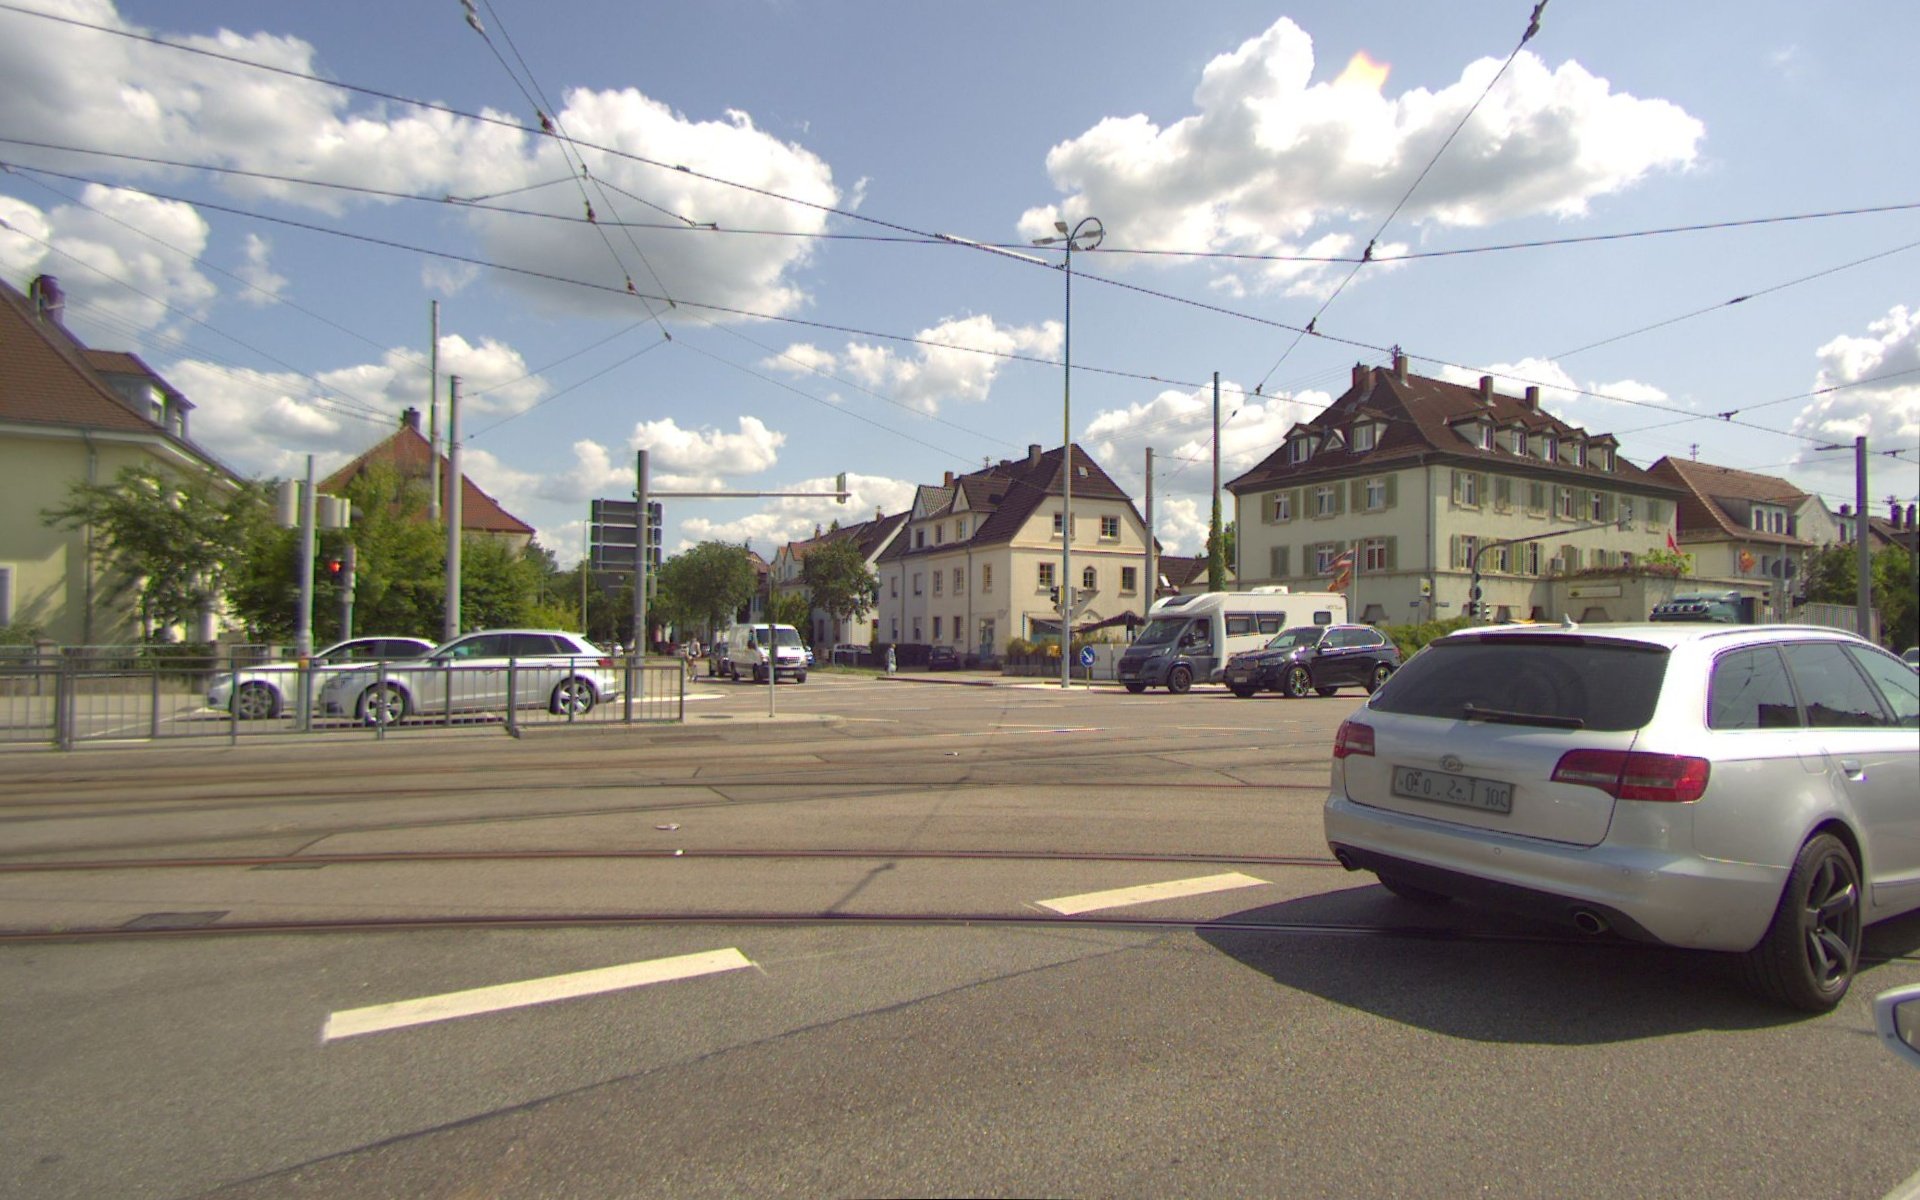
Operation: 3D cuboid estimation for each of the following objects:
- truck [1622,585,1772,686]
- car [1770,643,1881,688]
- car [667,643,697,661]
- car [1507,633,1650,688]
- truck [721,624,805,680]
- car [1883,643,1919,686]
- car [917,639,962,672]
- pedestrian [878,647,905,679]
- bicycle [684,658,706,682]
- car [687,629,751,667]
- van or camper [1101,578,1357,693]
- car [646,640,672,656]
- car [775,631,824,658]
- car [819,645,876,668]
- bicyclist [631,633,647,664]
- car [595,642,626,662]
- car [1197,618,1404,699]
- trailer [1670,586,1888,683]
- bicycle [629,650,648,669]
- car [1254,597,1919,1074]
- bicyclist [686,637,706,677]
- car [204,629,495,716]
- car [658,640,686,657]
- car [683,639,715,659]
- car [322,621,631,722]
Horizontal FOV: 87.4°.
[{"bbox_3d":[30.023,1.499,40.900,5.595,3.870,2.590,1,-4,-27],"label":"truck"},{"bbox_3d":[33.630,2.543,39.006,4.416,1.658,1.788,3,-4,-28],"label":"car"},{"bbox_3d":[-27.744,5.166,100.069,1.976,1.617,3.970,3,-1,-29],"label":"car"},{"bbox_3d":[19.109,1.920,31.001,4.128,1.572,1.986,3,-6,-30],"label":"car"},{"bbox_3d":[-8.043,2.025,40.511,1.668,1.947,6.163,3,-1,-26],"label":"truck"},{"bbox_3d":[42.816,2.857,44.330,4.658,1.838,1.786,3,-4,-30],"label":"car"},{"bbox_3d":[-1.233,3.216,59.087,1.900,1.689,4.280,2,-1,-11],"label":"car"},{"bbox_3d":[-3.654,3.357,53.712,1.022,1.670,0.919,1,-1,42],"label":"pedestrian"},{"bbox_3d":[-10.422,2.756,39.521,0.595,0.846,1.075,3,-1,-27],"label":"bicycle"},{"bbox_3d":[-11.316,2.232,47.036,1.975,1.573,4.149,3,-2,-27],"label":"car"},{"bbox_3d":[7.817,1.087,28.793,7.659,2.968,2.315,2,-3,-29],"label":"van or camper"},{"bbox_3d":[-34.071,5.409,113.731,1.976,1.617,3.970,3,-1,-29],"label":"car"},{"bbox_3d":[-10.624,2.926,66.328,1.976,1.617,3.970,3,-1,-29],"label":"car"},{"bbox_3d":[-8.653,4.320,77.211,3.944,1.617,1.830,3,-1,-24],"label":"car"},{"bbox_3d":[-15.821,2.390,49.497,0.595,1.517,0.498,3,-1,-28],"label":"bicyclist"},{"bbox_3d":[-30.607,4.555,87.982,1.975,1.573,4.149,3,-2,-27],"label":"car"},{"bbox_3d":[8.286,1.426,24.373,4.816,1.799,1.987,2,-4,-28],"label":"car"},{"bbox_3d":[36.251,1.583,44.217,12.675,3.870,2.590,1,-4,-28],"label":"trailer"},{"bbox_3d":[-15.847,2.941,49.507,0.595,0.846,1.797,3,-1,-27],"label":"bicycle"},{"bbox_3d":[3.824,0.794,5.130,4.668,1.491,1.785,1,-1,-31],"label":"car"},{"bbox_3d":[-10.408,2.245,39.550,0.595,1.528,0.641,3,-1,-28],"label":"bicyclist"},{"bbox_3d":[-10.920,1.299,18.232,4.298,1.369,1.675,3,-1,-33],"label":"car"},{"bbox_3d":[-31.023,5.253,108.103,1.976,1.617,3.970,3,-1,-29],"label":"car"},{"bbox_3d":[-24.572,4.582,94.422,1.976,1.617,3.970,3,-1,-29],"label":"car"},{"bbox_3d":[-7.559,1.102,15.906,4.128,1.369,1.984,3,-1,-30],"label":"car"}]
